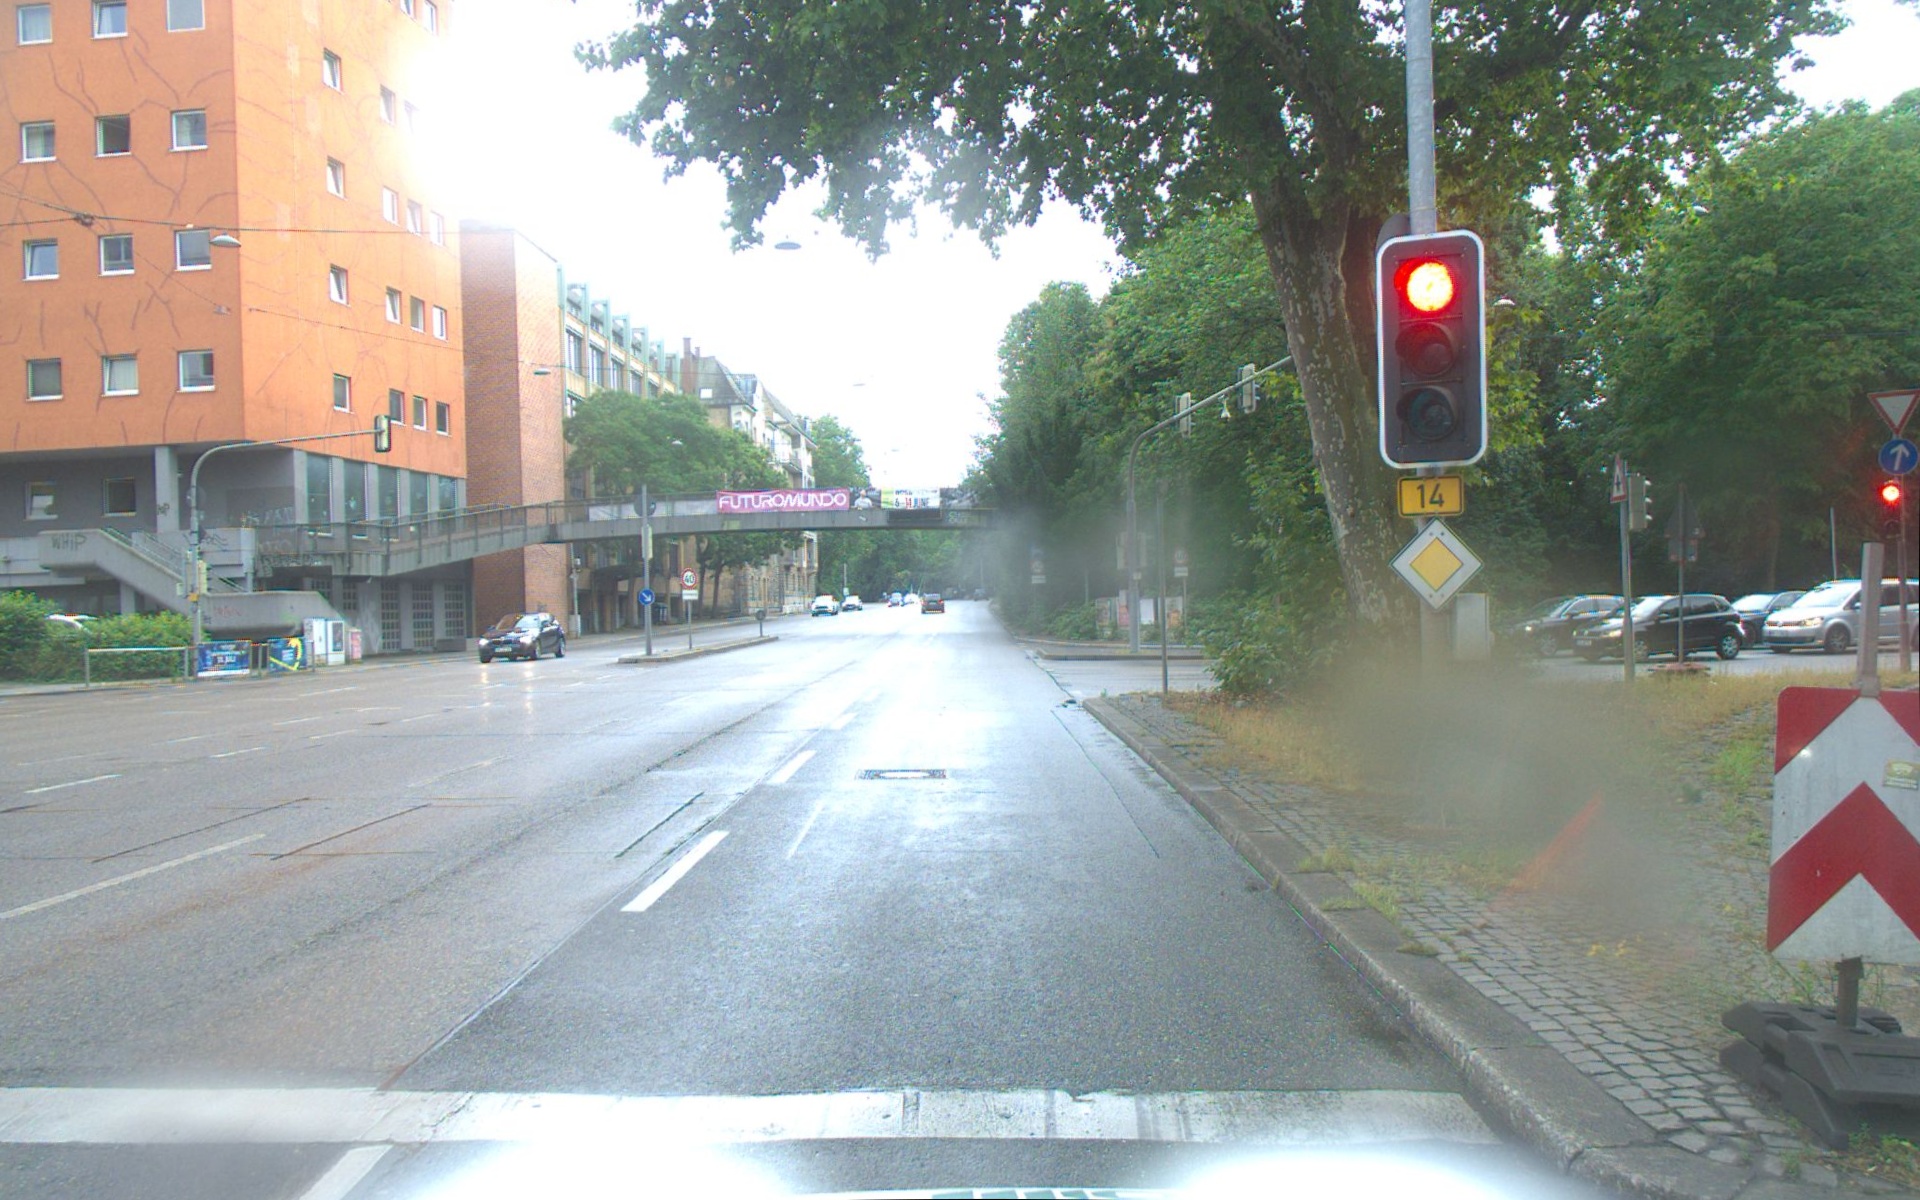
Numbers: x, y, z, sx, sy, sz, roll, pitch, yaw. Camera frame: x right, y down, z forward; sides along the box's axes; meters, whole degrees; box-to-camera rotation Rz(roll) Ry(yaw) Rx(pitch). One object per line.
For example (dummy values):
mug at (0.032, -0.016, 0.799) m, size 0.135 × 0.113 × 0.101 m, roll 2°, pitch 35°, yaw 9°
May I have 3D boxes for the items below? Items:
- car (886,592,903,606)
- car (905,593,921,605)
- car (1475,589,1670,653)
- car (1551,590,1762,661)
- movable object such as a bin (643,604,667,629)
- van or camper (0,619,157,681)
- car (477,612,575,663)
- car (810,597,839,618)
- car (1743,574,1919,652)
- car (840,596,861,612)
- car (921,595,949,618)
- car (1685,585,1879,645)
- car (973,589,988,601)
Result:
car at (-7.191, -0.054, 182.561) m, size 1.648 × 1.461 × 3.862 m, roll -2°, pitch 0°, yaw 0°
car at (-6.116, -0.095, 214.877) m, size 1.793 × 1.418 × 4.405 m, roll -3°, pitch 0°, yaw 1°
car at (14.908, 0.521, 40.290) m, size 4.131 × 1.466 × 1.941 m, roll 1°, pitch 0°, yaw -17°
car at (15.371, 0.562, 36.525) m, size 4.119 × 1.486 × 1.785 m, roll 1°, pitch 0°, yaw -17°
movable object such as a bin at (-19.694, 1.058, 106.813) m, size 1.256 × 1.545 × 1.273 m, roll -1°, pitch 0°, yaw 1°
van or camper at (-25.529, 1.433, 47.562) m, size 3.902 × 1.656 × 1.915 m, roll -1°, pitch 0°, yaw 5°
car at (-13.271, 1.124, 50.836) m, size 1.650 × 1.444 × 4.216 m, roll -2°, pitch -1°, yaw 3°
car at (-11.204, 0.605, 136.886) m, size 1.850 × 1.638 × 4.457 m, roll -1°, pitch 0°, yaw 2°
car at (20.639, 0.307, 38.529) m, size 4.129 × 1.709 × 1.898 m, roll 1°, pitch 0°, yaw -17°
car at (-10.743, 0.393, 162.554) m, size 1.673 × 1.490 × 4.042 m, roll -2°, pitch 0°, yaw 2°
car at (-1.950, 0.477, 127.899) m, size 1.964 × 1.672 × 4.374 m, roll -1°, pitch 0°, yaw -2°
car at (20.818, 0.382, 41.934) m, size 4.361 × 1.427 × 1.821 m, roll 1°, pitch 0°, yaw -17°
car at (2.504, -0.604, 201.901) m, size 1.805 × 1.478 × 3.776 m, roll 1°, pitch 0°, yaw -1°
